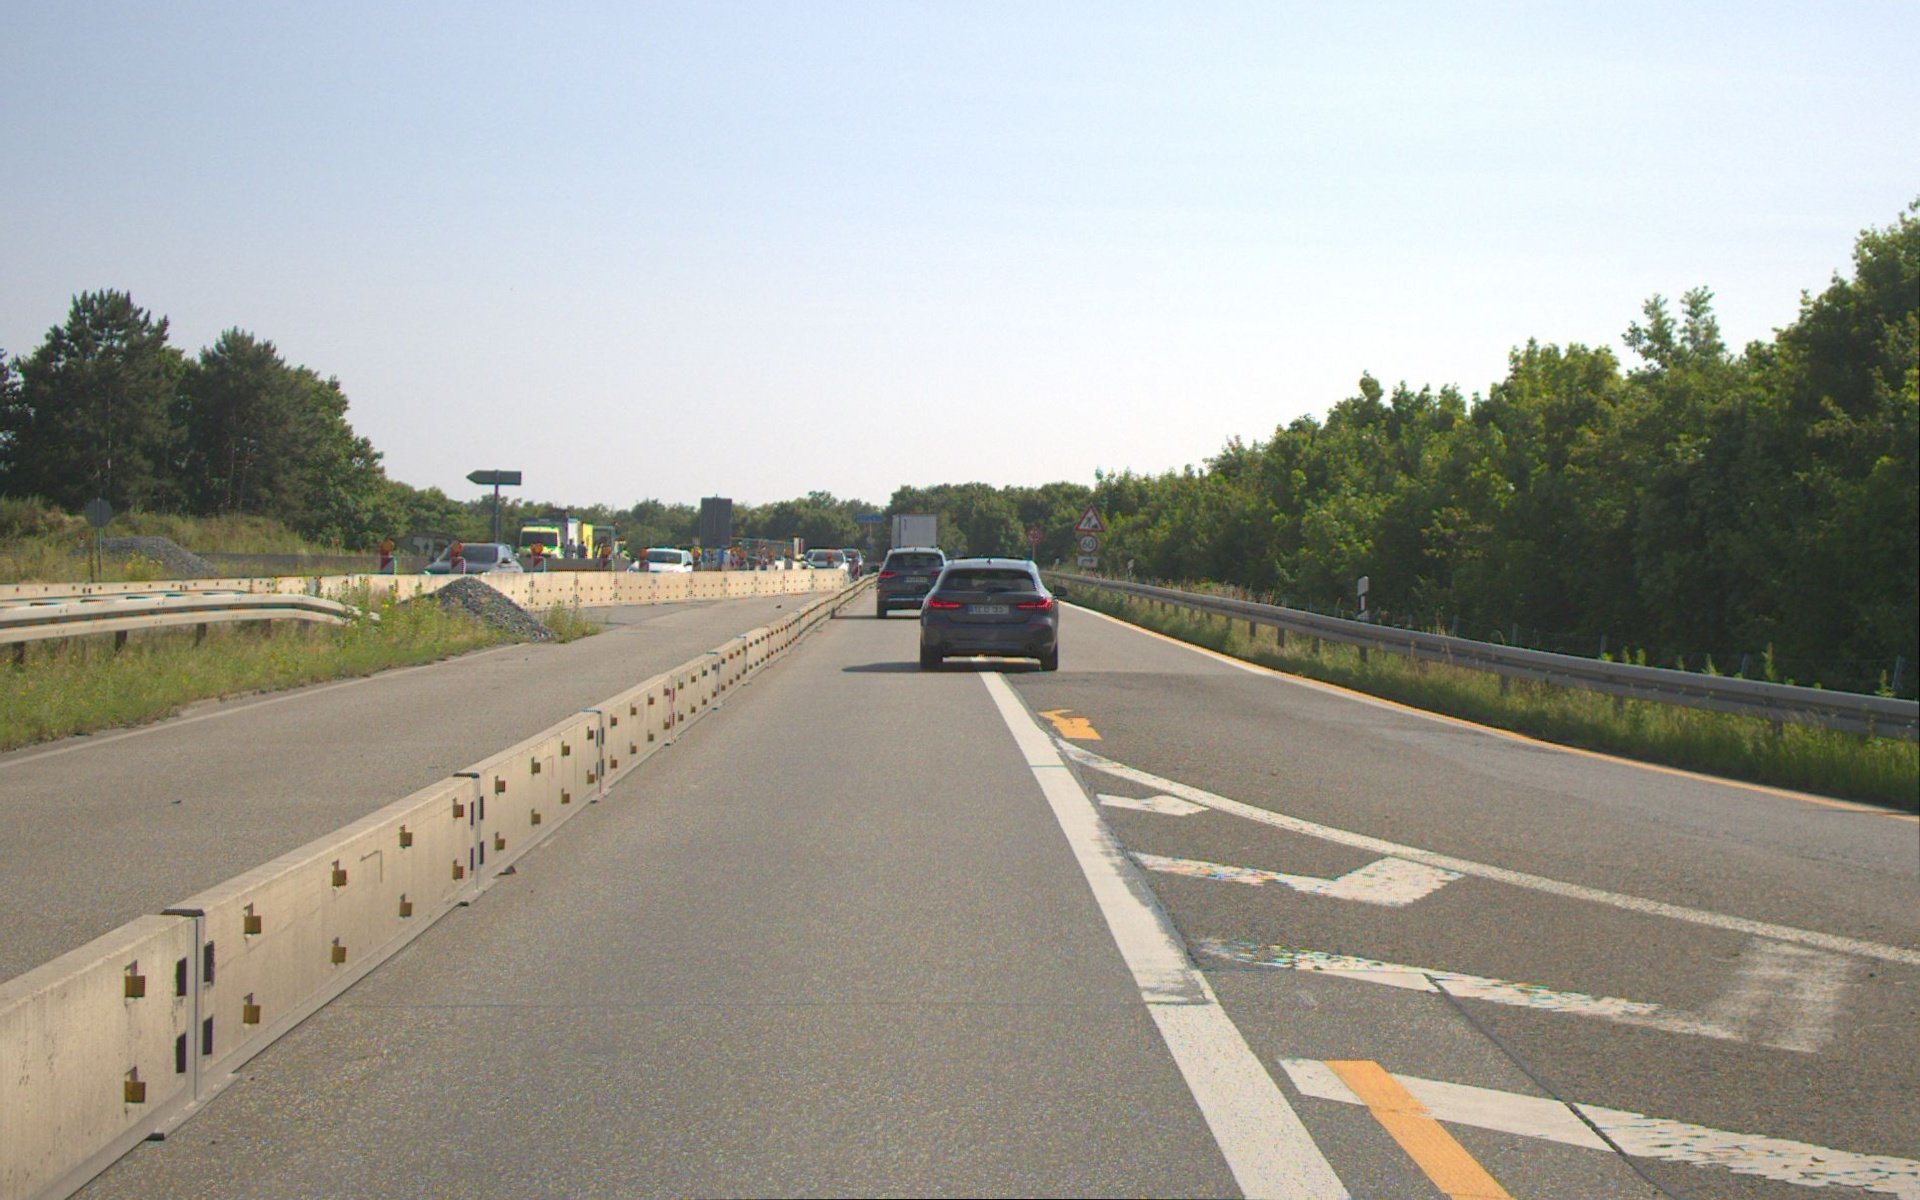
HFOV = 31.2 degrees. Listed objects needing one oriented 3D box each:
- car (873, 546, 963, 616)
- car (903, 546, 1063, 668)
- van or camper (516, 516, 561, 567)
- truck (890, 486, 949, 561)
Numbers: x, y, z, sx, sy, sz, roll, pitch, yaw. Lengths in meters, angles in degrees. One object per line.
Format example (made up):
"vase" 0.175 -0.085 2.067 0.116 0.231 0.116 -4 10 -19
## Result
"car" -0.944 -0.457 78.949 1.993 1.561 4.000 0 1 0
"car" 0.254 0.058 45.276 1.920 1.488 4.000 1 1 -2
"van or camper" -20.175 -2.797 164.727 1.993 2.369 6.203 -1 1 -6
"truck" -2.828 -5.205 235.100 3.761 4.894 14.138 1 1 -1
